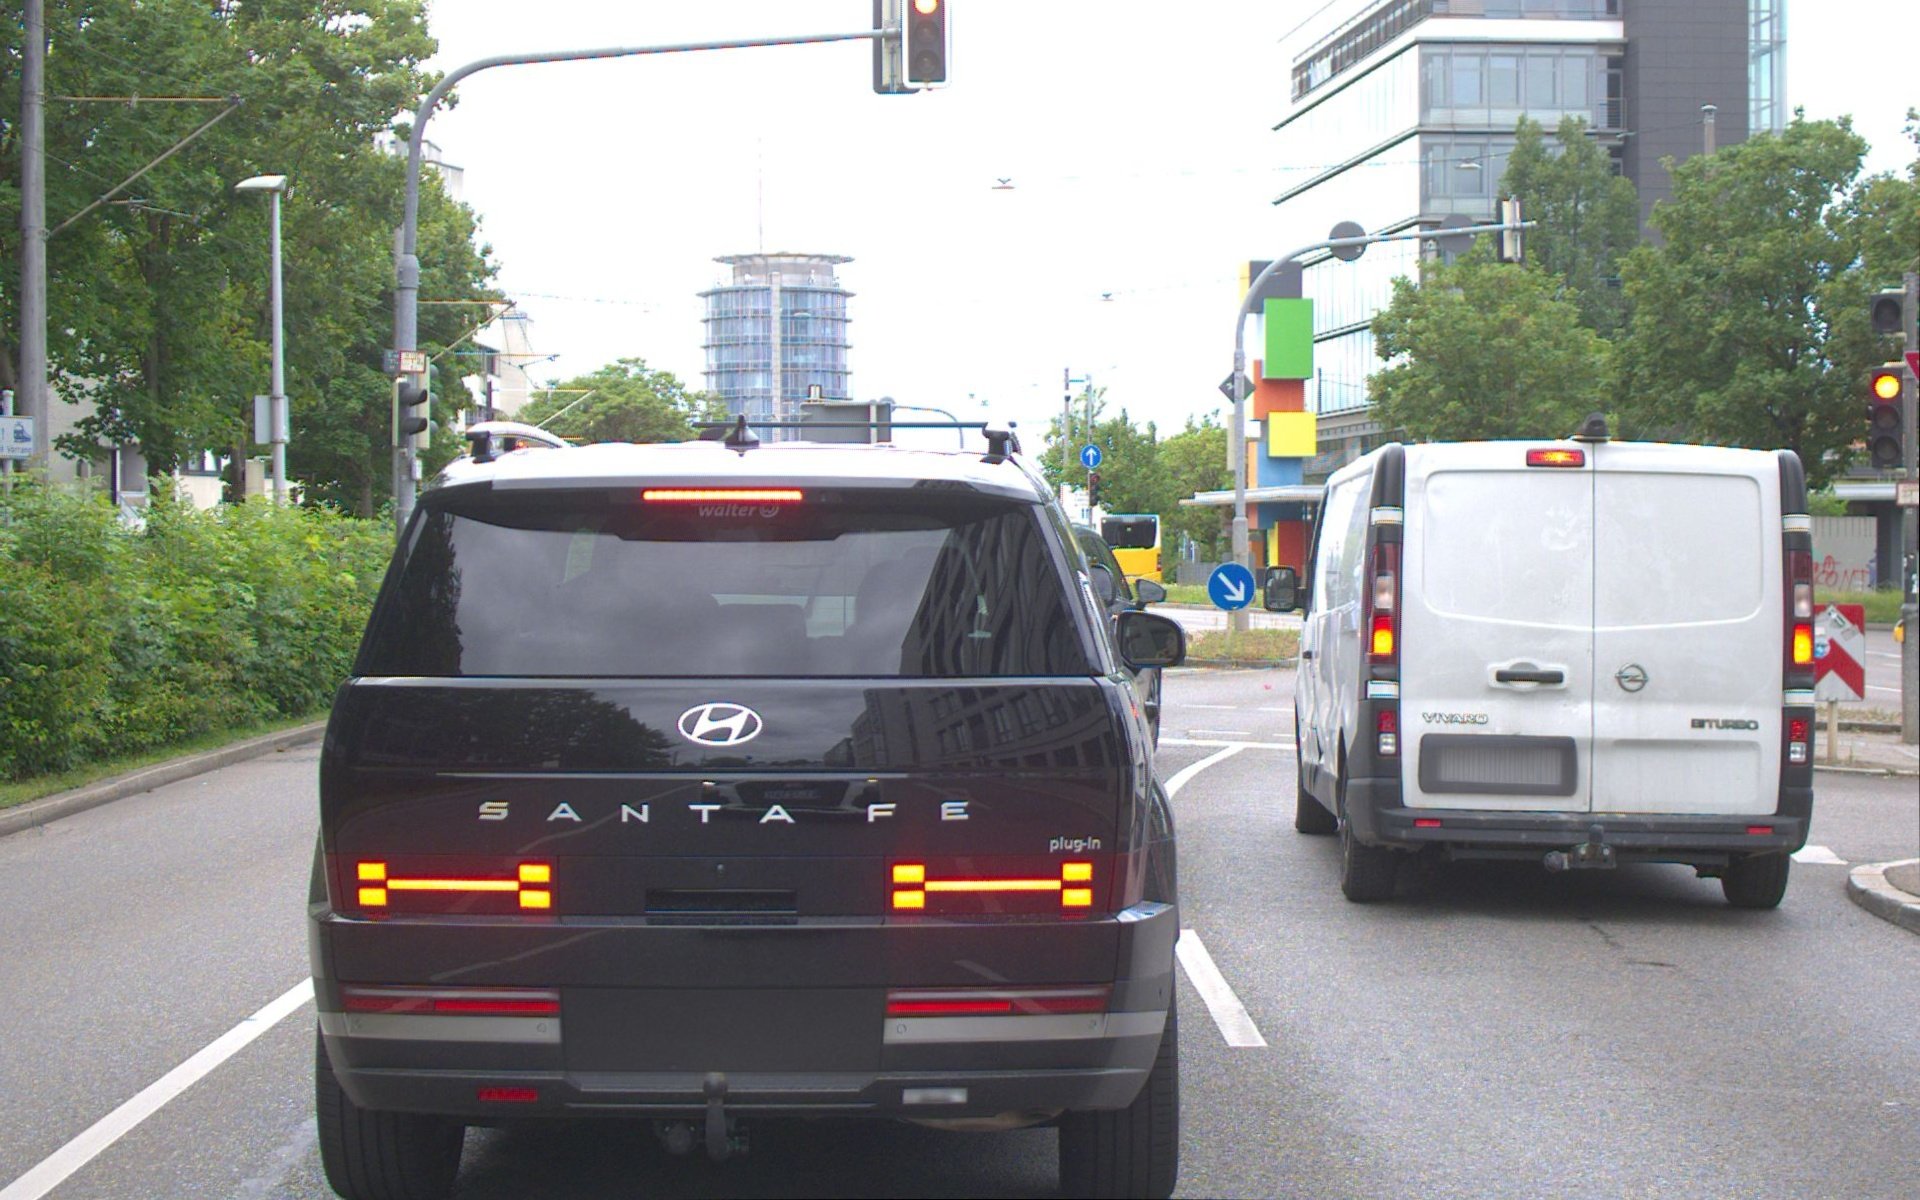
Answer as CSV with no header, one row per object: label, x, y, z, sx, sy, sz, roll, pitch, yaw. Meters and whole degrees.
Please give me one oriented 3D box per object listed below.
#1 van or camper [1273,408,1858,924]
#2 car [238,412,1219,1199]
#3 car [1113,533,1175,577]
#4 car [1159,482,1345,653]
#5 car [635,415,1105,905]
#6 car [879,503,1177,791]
van or camper,2.582,0.216,15.809,1.993,2.007,4.652,1,1,2
car,-0.459,0.486,8.519,1.869,1.754,3.880,0,1,-1
car,7.154,-1.738,134.329,1.993,1.678,4.000,0,0,-3
car,3.584,-0.401,42.860,1.993,2.007,4.000,0,0,1
car,-0.391,0.210,16.011,1.915,1.996,3.880,0,1,-1
car,0.449,0.265,22.825,1.776,1.711,4.338,0,0,1
